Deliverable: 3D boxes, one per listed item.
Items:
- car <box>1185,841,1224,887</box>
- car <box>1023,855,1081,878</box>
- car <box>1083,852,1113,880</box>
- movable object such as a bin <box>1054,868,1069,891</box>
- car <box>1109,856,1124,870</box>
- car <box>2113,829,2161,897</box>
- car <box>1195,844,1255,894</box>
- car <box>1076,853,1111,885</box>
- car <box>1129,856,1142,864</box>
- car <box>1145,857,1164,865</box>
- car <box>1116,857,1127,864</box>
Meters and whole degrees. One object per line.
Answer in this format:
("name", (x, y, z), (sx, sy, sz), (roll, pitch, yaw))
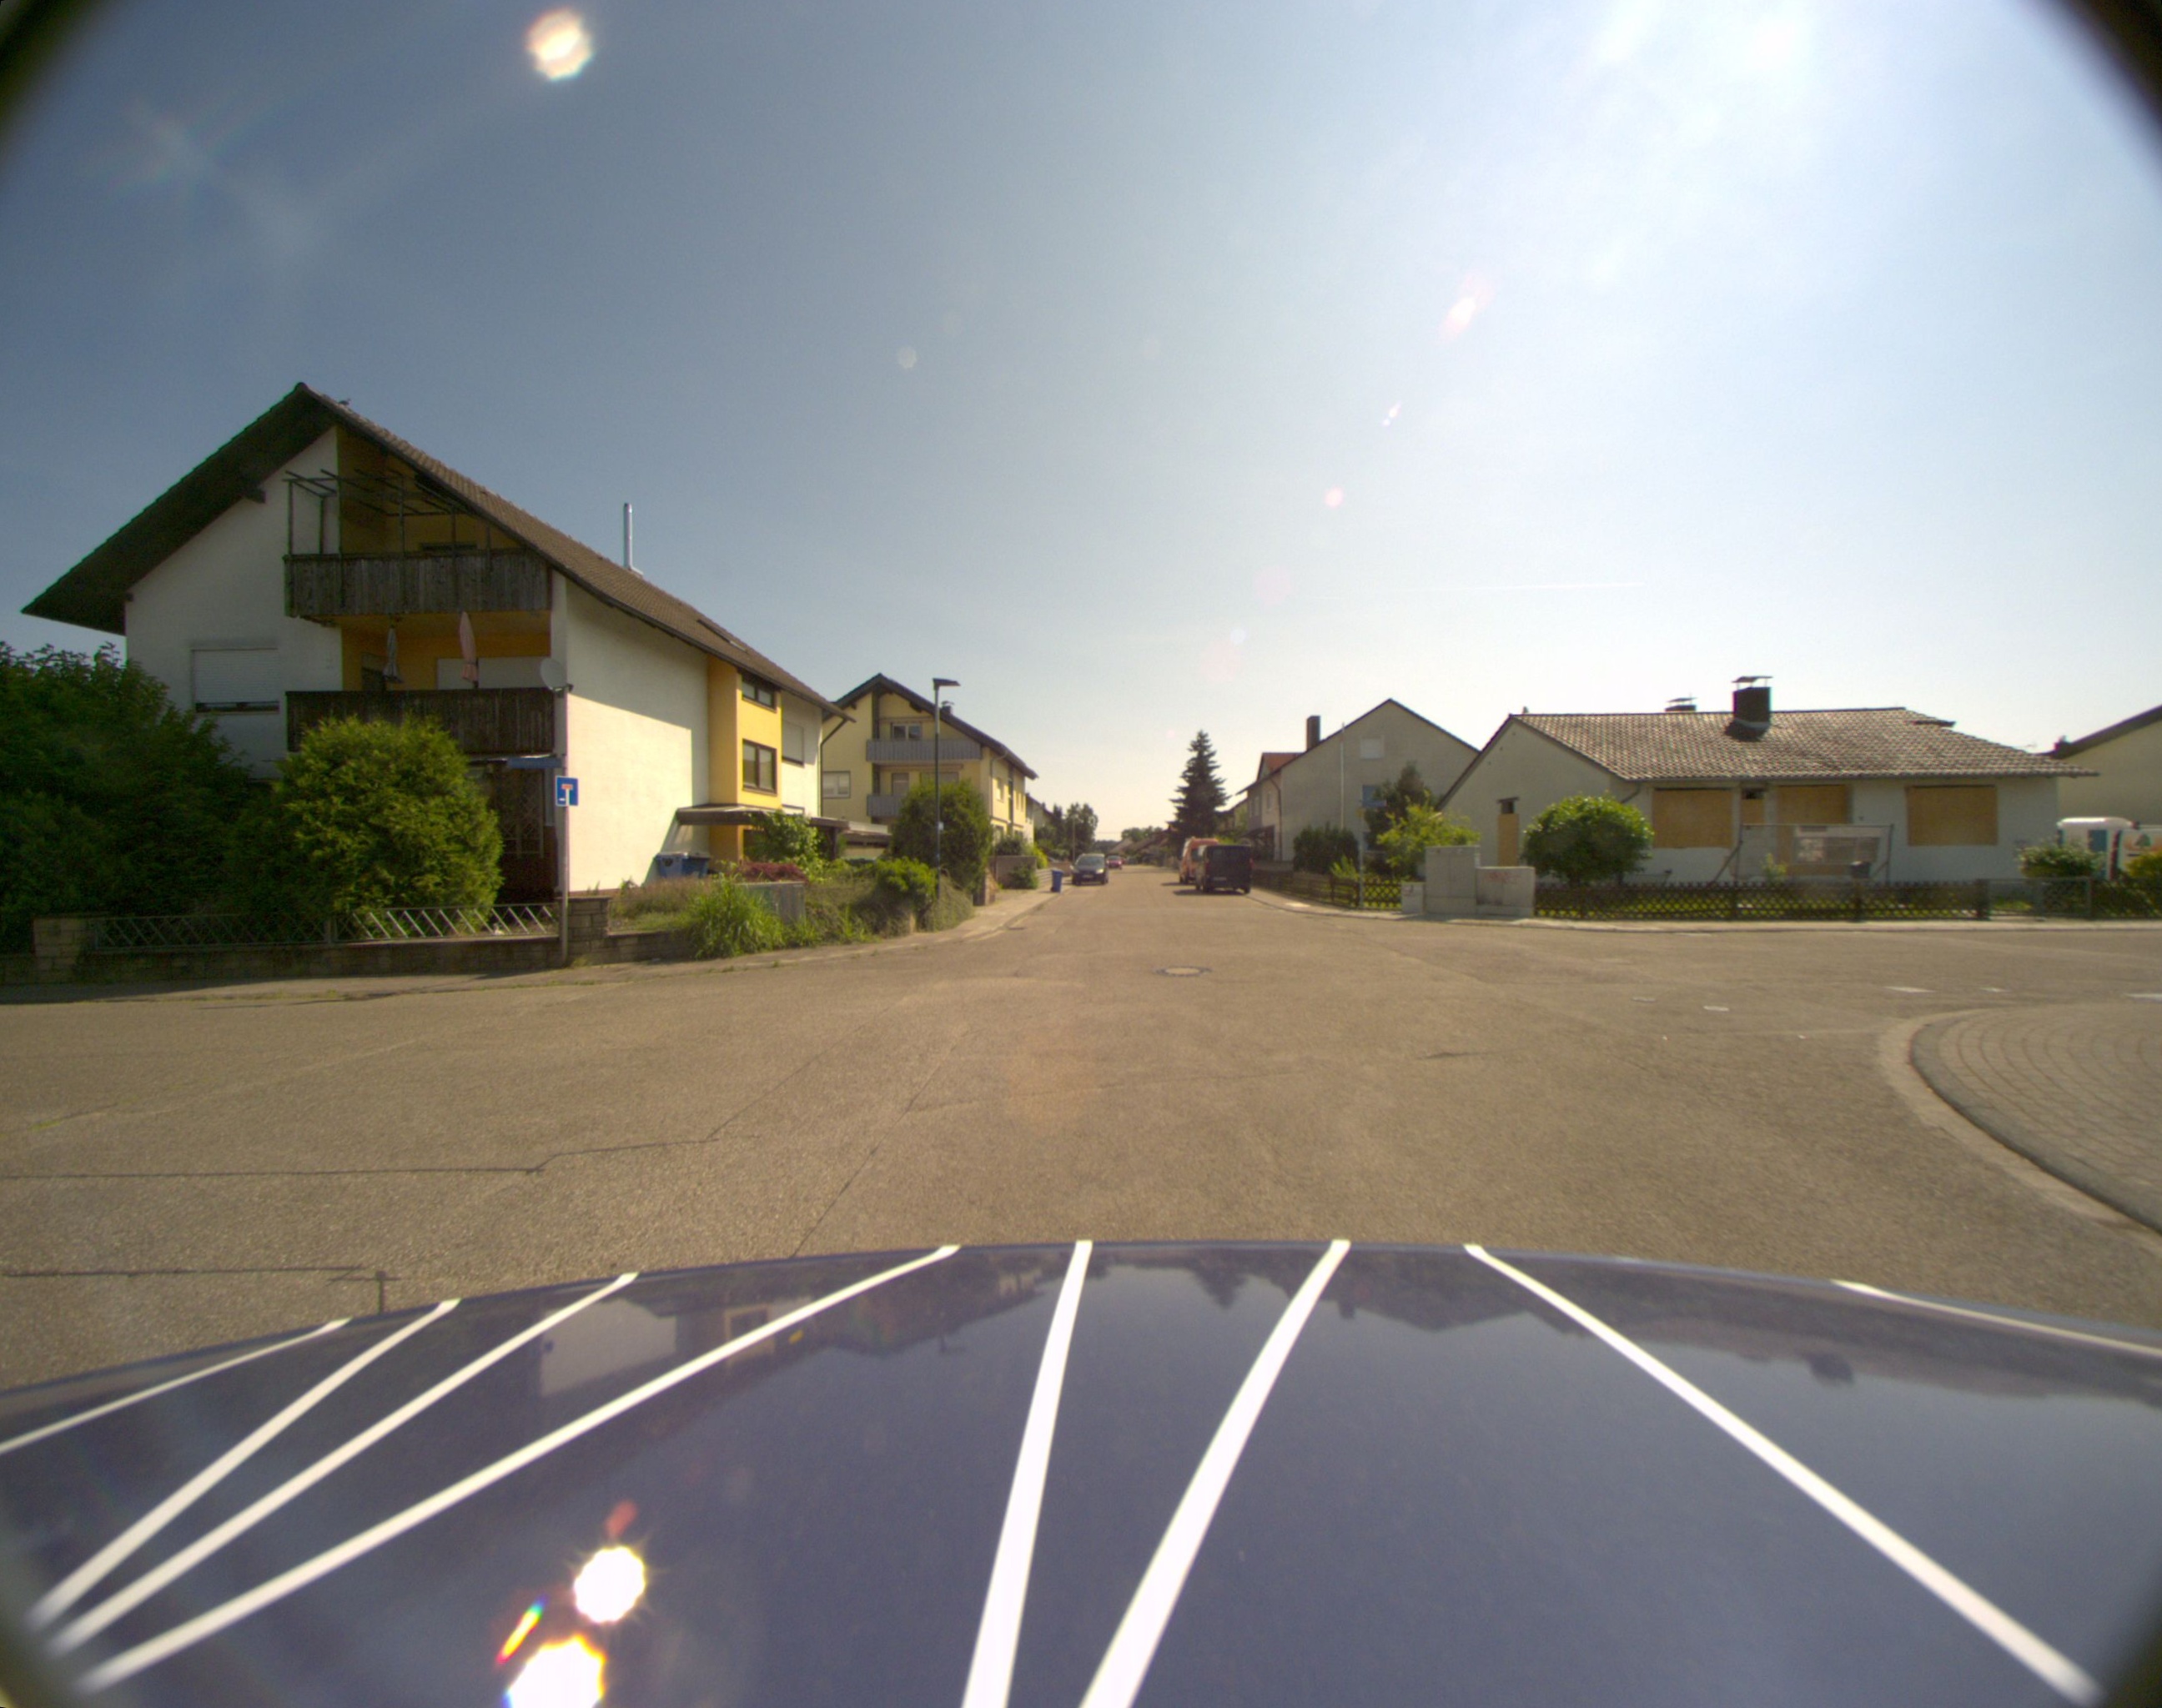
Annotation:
("car", (6.528, 0.499, 40.584), (1.555, 2.310, 4.205), (-1, 0, 3))
("car", (-2.155, 0.942, 57.330), (4.172, 1.608, 1.876), (-1, -1, 3))
("car", (1.088, 0.707, 46.831), (1.631, 1.616, 4.002), (-1, 0, 5))
("movable object such as a bin", (-0.827, 1.066, 31.803), (0.584, 0.911, 0.598), (-1, 0, 2))
("car", (3.916, 0.993, 83.260), (1.517, 1.398, 3.678), (-1, -1, 1))
("car", (32.631, 0.261, 20.875), (1.866, 2.002, 5.013), (0, 0, 3))
("car", (5.840, 0.586, 31.297), (1.869, 1.927, 4.205), (-1, 0, 3))
("car", (0.733, 0.782, 41.254), (1.631, 1.616, 4.002), (-1, 0, 5))
("car", (9.577, 1.114, 134.588), (1.709, 1.332, 3.999), (-1, -1, -5))
("car", (13.851, 1.260, 143.518), (3.413, 1.521, 1.638), (0, 0, -3))
("car", (7.804, 1.320, 147.141), (1.709, 1.332, 3.999), (-1, -1, -5))
